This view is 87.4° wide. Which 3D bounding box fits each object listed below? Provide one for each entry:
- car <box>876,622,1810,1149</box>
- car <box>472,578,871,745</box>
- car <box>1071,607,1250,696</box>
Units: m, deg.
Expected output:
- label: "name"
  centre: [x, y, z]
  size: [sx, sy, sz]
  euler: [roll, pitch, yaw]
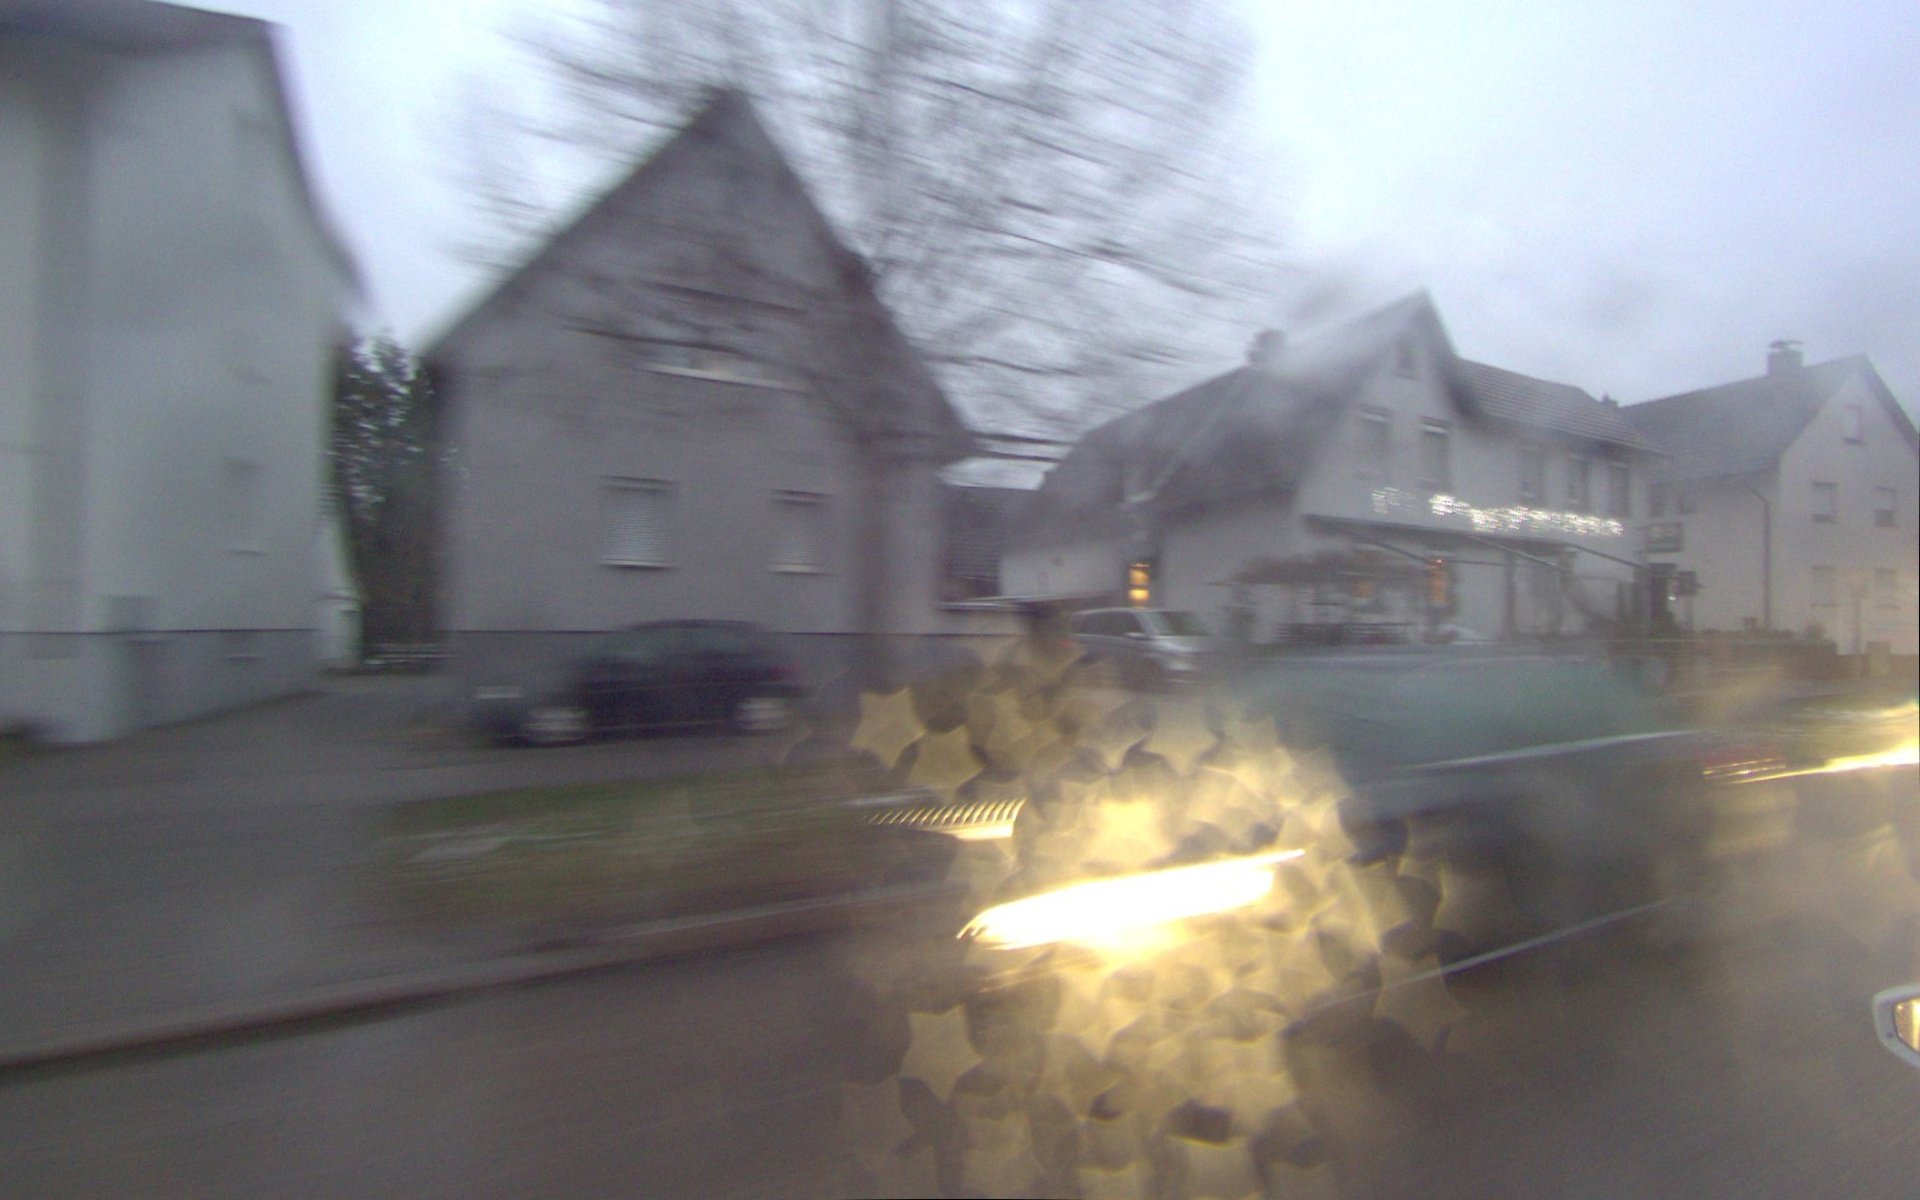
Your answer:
- label: "car"
  centre: [1.941, 0.884, 4.664]
  size: [4.373, 1.460, 1.696]
  euler: [2, -3, -30]
- label: "car"
  centre: [-3.585, 0.730, 12.626]
  size: [4.511, 1.779, 1.986]
  euler: [2, -2, -28]
- label: "car"
  centre: [4.415, 1.123, 22.887]
  size: [1.883, 1.823, 4.545]
  euler: [1, -2, -21]
